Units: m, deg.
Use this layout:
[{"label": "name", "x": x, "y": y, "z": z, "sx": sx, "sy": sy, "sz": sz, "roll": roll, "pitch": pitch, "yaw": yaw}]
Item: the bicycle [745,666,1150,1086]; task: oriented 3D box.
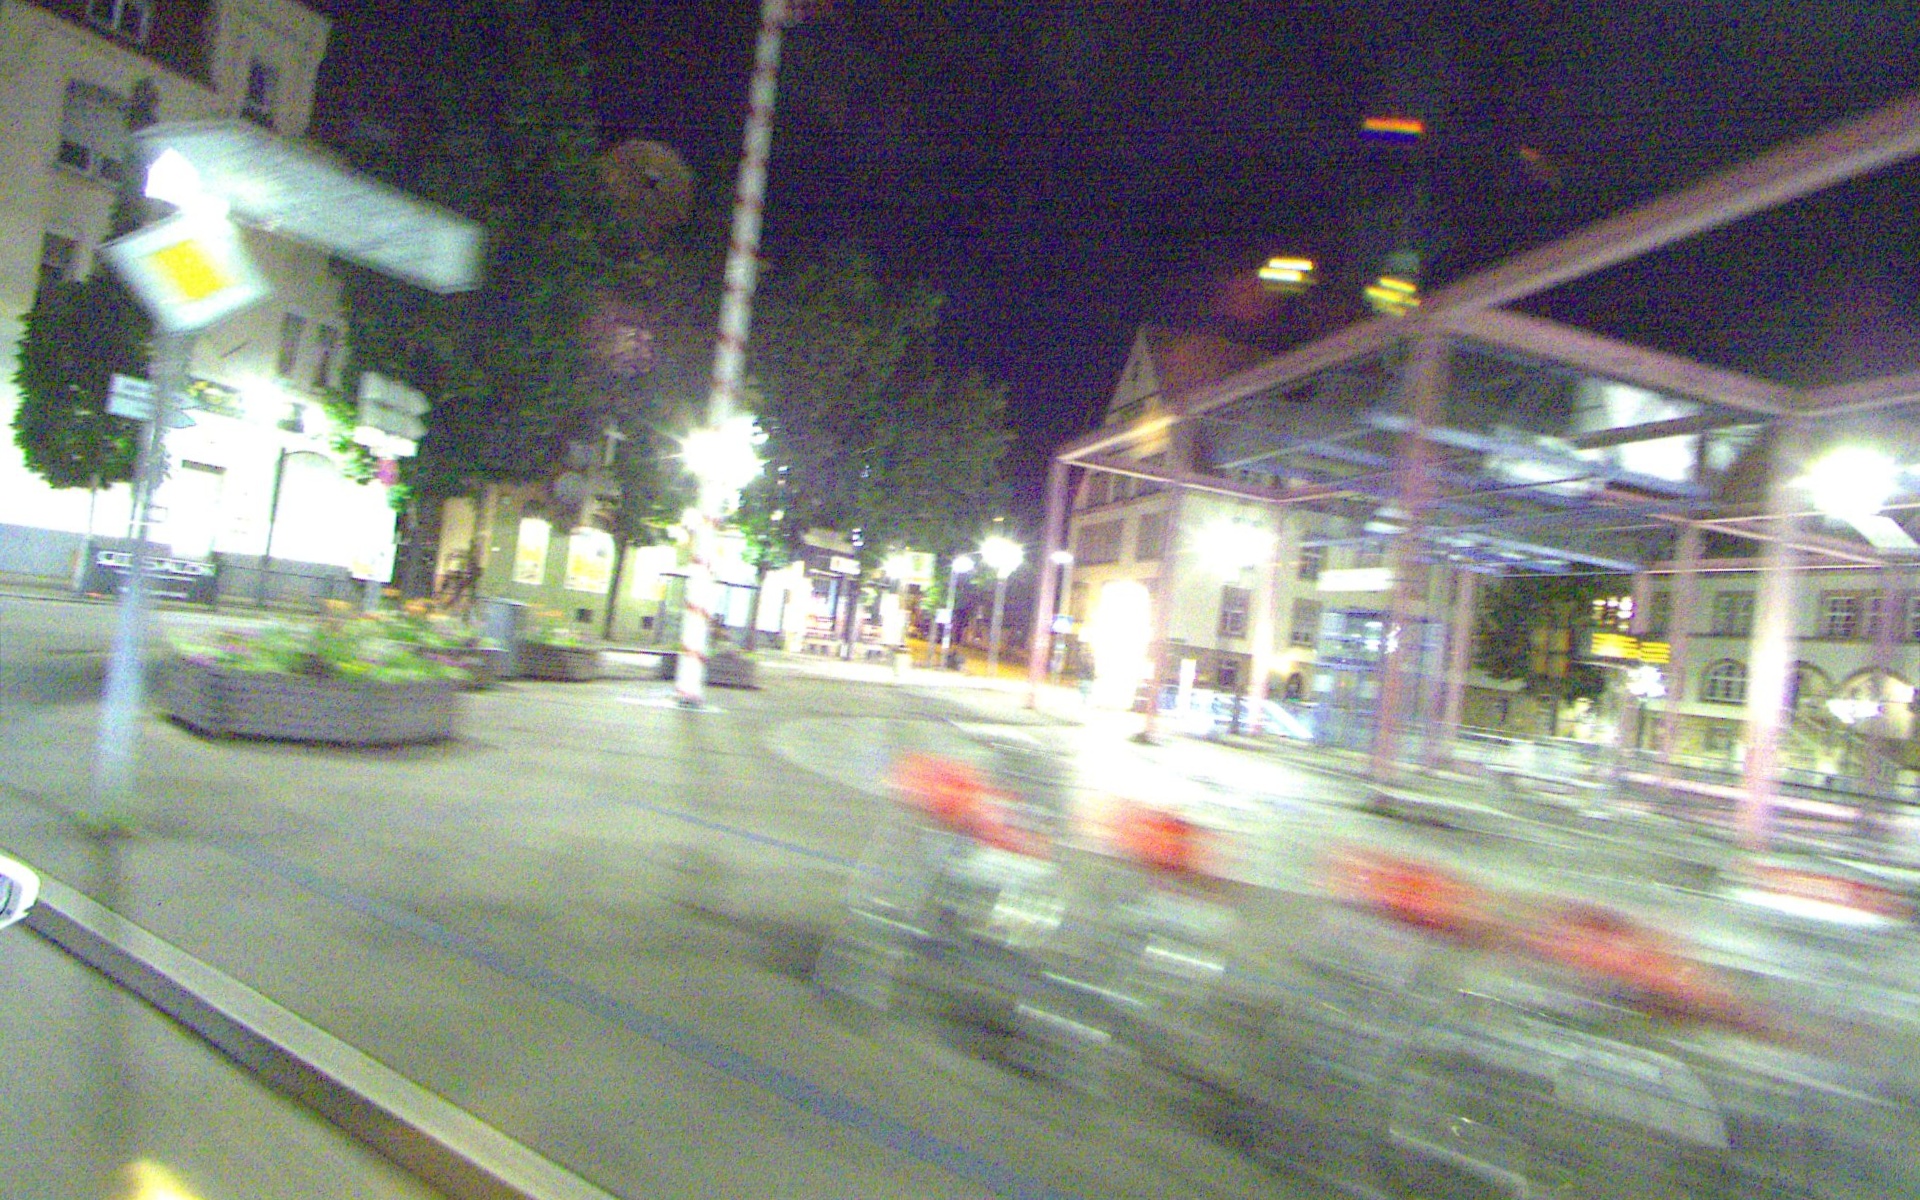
[{"label": "bicycle", "x": 0.080, "y": 0.924, "z": 3.989, "sx": 0.746, "sy": 1.164, "sz": 1.788, "roll": 7, "pitch": -2, "yaw": 26}]

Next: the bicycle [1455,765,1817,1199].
[{"label": "bicycle", "x": 1.933, "y": 1.147, "z": 2.987, "sx": 0.573, "sy": 1.164, "sz": 1.775, "roll": 7, "pitch": -2, "yaw": 33}]

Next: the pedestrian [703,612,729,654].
[{"label": "pedestrian", "x": -8.188, "y": 1.101, "z": 33.739, "sx": 0.506, "sy": 1.314, "sz": 0.466, "roll": 7, "pitch": -1, "yaw": 31}]

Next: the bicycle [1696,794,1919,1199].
[{"label": "bicycle", "x": 2.455, "y": 1.197, "z": 2.665, "sx": 0.573, "sy": 1.164, "sz": 1.775, "roll": 7, "pitch": -2, "yaw": 32}]

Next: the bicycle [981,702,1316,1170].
[{"label": "bicycle", "x": 0.791, "y": 0.997, "z": 3.623, "sx": 0.603, "sy": 1.164, "sz": 1.777, "roll": 7, "pitch": -2, "yaw": 26}]

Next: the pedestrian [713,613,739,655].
[{"label": "pedestrian", "x": -7.943, "y": 1.155, "z": 34.147, "sx": 0.506, "sy": 1.314, "sz": 0.466, "roll": 7, "pitch": -1, "yaw": 31}]

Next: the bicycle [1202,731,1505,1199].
[{"label": "bicycle", "x": 1.346, "y": 1.069, "z": 3.294, "sx": 0.572, "sy": 1.164, "sz": 1.777, "roll": 7, "pitch": -2, "yaw": 26}]
